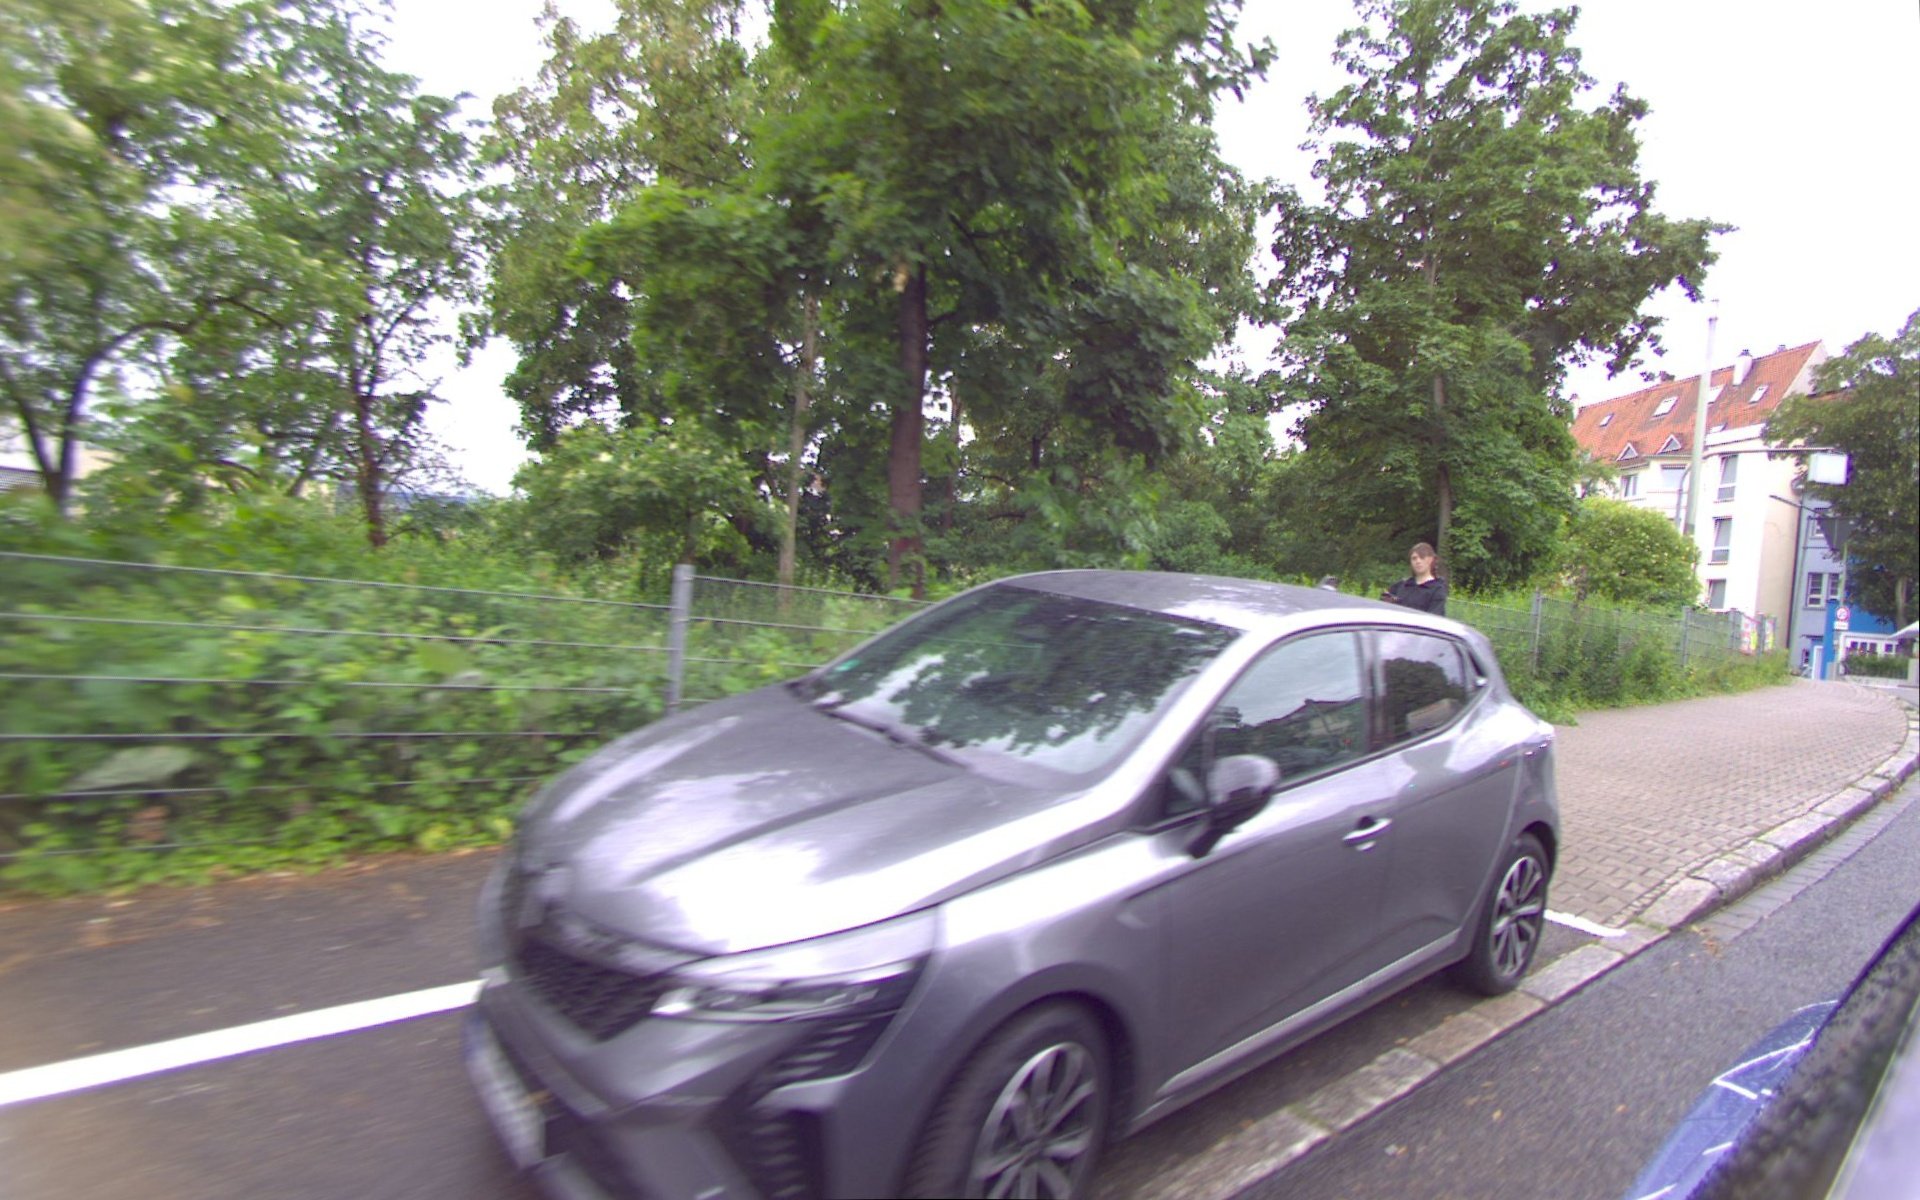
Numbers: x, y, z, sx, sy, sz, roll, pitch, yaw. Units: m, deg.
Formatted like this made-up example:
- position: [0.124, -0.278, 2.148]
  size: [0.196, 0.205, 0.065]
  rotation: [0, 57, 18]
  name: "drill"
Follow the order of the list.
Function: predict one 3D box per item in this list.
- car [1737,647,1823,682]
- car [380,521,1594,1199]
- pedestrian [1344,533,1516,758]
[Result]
- position: [37.223, 2.942, 45.952]
  size: [3.076, 1.518, 1.642]
  rotation: [3, -4, -19]
  name: "car"
- position: [0.396, 0.594, 3.313]
  size: [3.745, 1.420, 1.654]
  rotation: [0, 7, -40]
  name: "car"
- position: [3.720, 0.323, 8.027]
  size: [0.948, 1.624, 0.768]
  rotation: [1, 4, -38]
  name: "pedestrian"
